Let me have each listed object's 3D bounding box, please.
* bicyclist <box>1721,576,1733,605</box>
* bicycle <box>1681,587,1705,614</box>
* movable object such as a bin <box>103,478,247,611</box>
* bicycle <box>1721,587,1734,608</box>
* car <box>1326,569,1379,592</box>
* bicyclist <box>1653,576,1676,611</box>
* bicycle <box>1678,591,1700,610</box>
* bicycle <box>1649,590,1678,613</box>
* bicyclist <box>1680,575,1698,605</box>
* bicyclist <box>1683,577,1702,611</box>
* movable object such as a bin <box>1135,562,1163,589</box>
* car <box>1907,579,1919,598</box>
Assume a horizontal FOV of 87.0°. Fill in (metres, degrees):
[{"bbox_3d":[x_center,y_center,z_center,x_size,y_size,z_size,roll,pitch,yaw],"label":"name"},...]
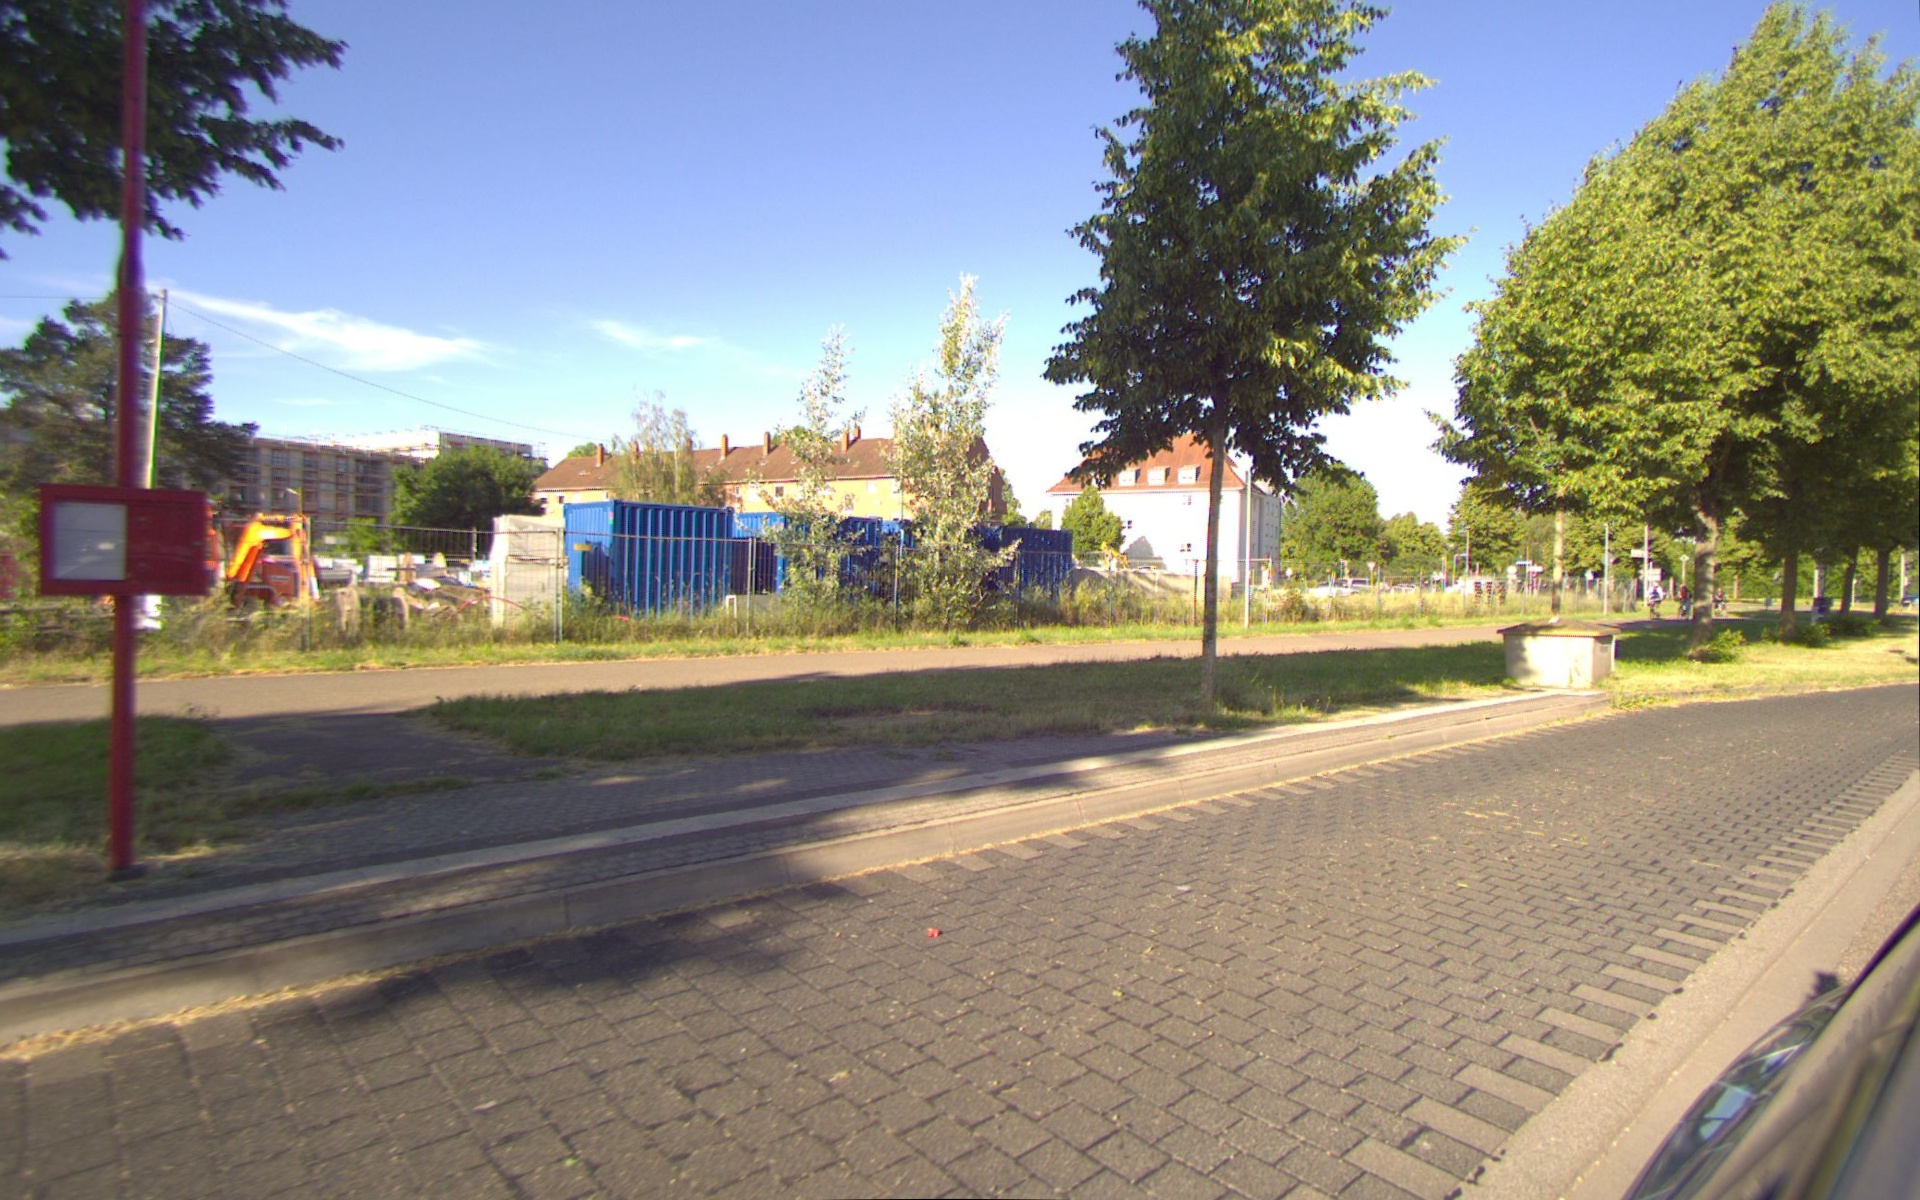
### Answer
[{"bbox_3d":[41.465,-0.524,54.696,0.469,1.504,0.903,1,2,40],"label":"bicyclist"},{"bbox_3d":[33.347,0.020,46.048,1.577,1.166,0.506,0,2,-41],"label":"bicycle"},{"bbox_3d":[-12.947,-0.897,16.715,1.758,2.038,1.799,-2,2,-39],"label":"movable object such as a bin"},{"bbox_3d":[41.487,-0.127,54.731,0.477,1.095,1.621,1,2,40],"label":"bicycle"},{"bbox_3d":[36.115,-1.783,93.114,4.379,2.038,2.004,0,2,-23],"label":"car"},{"bbox_3d":[32.331,-0.324,46.458,0.781,1.572,0.654,-1,2,-40],"label":"bicyclist"},{"bbox_3d":[39.923,0.008,55.413,1.867,0.972,0.592,-2,2,-41],"label":"bicycle"},{"bbox_3d":[32.310,0.042,46.461,1.788,1.025,0.656,0,2,-41],"label":"bicycle"},{"bbox_3d":[39.910,-0.536,55.380,0.949,1.606,0.592,-2,2,-40],"label":"bicyclist"},{"bbox_3d":[33.310,-0.279,46.012,0.819,1.491,0.504,-1,2,-41],"label":"bicyclist"},{"bbox_3d":[14.620,-1.919,78.395,2.034,2.038,1.996,0,2,8],"label":"movable object such as a bin"},{"bbox_3d":[81.488,-0.972,85.596,3.612,1.583,1.700,-1,3,-41],"label":"car"}]
